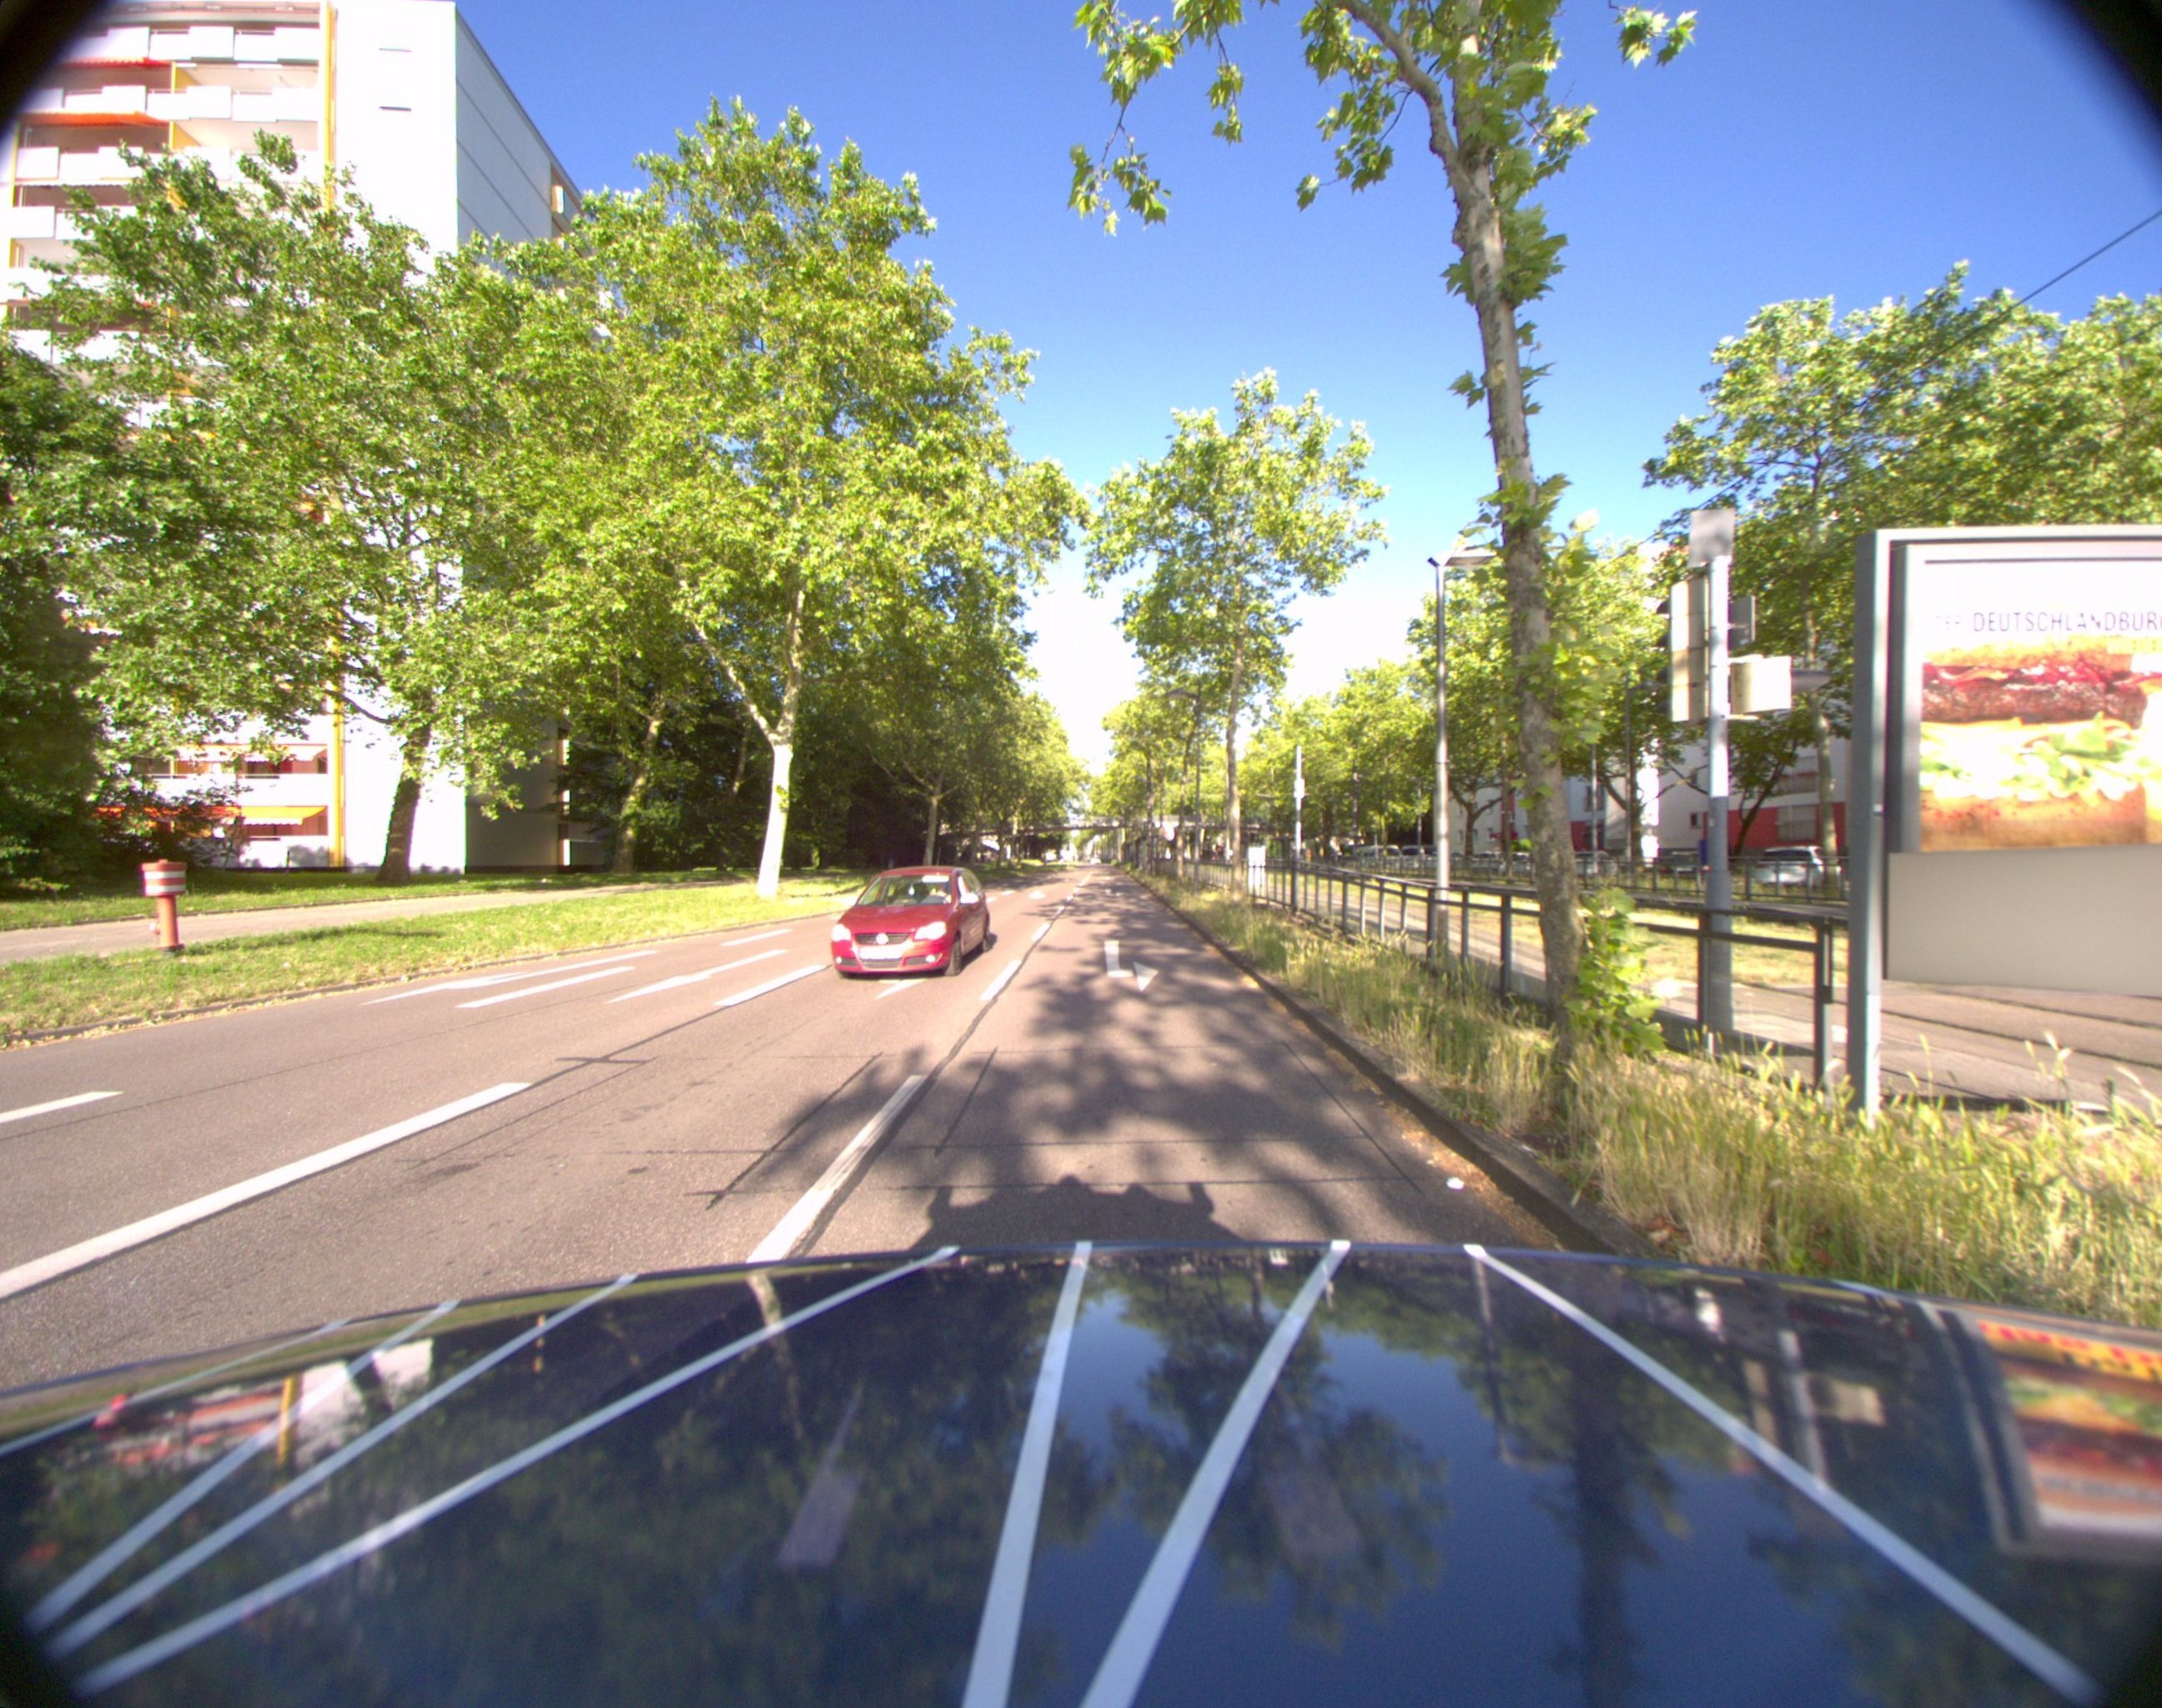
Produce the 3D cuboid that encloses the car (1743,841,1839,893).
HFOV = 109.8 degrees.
[{"bbox_3d":[25.126,0.432,26.838,4.007,1.586,1.810,-3,1,-37],"label":"car"}]

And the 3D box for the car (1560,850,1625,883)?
[{"bbox_3d":[25.483,0.596,37.811,3.890,1.406,1.486,-3,1,-37],"label":"car"}]

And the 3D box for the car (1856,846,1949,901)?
[{"bbox_3d":[25.119,0.559,23.207,3.770,1.420,1.555,-3,1,-37],"label":"car"}]

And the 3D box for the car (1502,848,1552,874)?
[{"bbox_3d":[26.185,0.401,44.564,3.493,1.321,1.476,-3,0,-41],"label":"car"}]

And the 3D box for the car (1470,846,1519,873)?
[{"bbox_3d":[25.886,0.327,47.491,3.493,1.417,1.558,-3,-1,-42],"label":"car"}]

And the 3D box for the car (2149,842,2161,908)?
[{"bbox_3d":[24.694,0.523,16.183,4.007,1.479,1.689,-3,1,-44],"label":"car"}]

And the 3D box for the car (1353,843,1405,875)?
[{"bbox_3d":[19.759,0.329,50.614,1.795,1.980,4.653,-1,0,3],"label":"car"}]

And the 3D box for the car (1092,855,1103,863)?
[{"bbox_3d":[3.102,0.943,142.335,1.797,1.465,4.001,-2,1,5],"label":"car"}]

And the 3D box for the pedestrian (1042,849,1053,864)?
[{"bbox_3d":[-4.578,0.337,104.029,0.917,2.002,0.964,-2,1,42],"label":"pedestrian"}]

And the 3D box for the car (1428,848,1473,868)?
[{"bbox_3d":[26.238,0.274,53.921,3.494,1.395,1.623,-1,0,-41],"label":"car"}]

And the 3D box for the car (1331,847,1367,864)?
[{"bbox_3d":[25.903,0.147,73.376,3.835,1.561,1.597,-1,1,-43],"label":"car"}]

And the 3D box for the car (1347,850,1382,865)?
[{"bbox_3d":[26.024,0.284,69.717,3.494,1.312,1.476,-1,0,-41],"label":"car"}]

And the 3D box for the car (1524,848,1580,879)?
[{"bbox_3d":[25.708,0.509,41.427,3.402,1.499,1.461,-3,1,-37],"label":"car"}]

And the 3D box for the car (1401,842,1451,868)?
[{"bbox_3d":[25.791,0.054,56.765,4.056,1.802,1.864,-1,1,-41],"label":"car"}]

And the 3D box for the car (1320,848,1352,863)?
[{"bbox_3d":[26.725,0.161,79.555,3.742,1.517,1.597,-1,1,-43],"label":"car"}]

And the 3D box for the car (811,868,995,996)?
[{"bbox_3d":[-2.425,1.012,11.308,1.646,1.430,3.761,-2,1,2],"label":"car"}]
